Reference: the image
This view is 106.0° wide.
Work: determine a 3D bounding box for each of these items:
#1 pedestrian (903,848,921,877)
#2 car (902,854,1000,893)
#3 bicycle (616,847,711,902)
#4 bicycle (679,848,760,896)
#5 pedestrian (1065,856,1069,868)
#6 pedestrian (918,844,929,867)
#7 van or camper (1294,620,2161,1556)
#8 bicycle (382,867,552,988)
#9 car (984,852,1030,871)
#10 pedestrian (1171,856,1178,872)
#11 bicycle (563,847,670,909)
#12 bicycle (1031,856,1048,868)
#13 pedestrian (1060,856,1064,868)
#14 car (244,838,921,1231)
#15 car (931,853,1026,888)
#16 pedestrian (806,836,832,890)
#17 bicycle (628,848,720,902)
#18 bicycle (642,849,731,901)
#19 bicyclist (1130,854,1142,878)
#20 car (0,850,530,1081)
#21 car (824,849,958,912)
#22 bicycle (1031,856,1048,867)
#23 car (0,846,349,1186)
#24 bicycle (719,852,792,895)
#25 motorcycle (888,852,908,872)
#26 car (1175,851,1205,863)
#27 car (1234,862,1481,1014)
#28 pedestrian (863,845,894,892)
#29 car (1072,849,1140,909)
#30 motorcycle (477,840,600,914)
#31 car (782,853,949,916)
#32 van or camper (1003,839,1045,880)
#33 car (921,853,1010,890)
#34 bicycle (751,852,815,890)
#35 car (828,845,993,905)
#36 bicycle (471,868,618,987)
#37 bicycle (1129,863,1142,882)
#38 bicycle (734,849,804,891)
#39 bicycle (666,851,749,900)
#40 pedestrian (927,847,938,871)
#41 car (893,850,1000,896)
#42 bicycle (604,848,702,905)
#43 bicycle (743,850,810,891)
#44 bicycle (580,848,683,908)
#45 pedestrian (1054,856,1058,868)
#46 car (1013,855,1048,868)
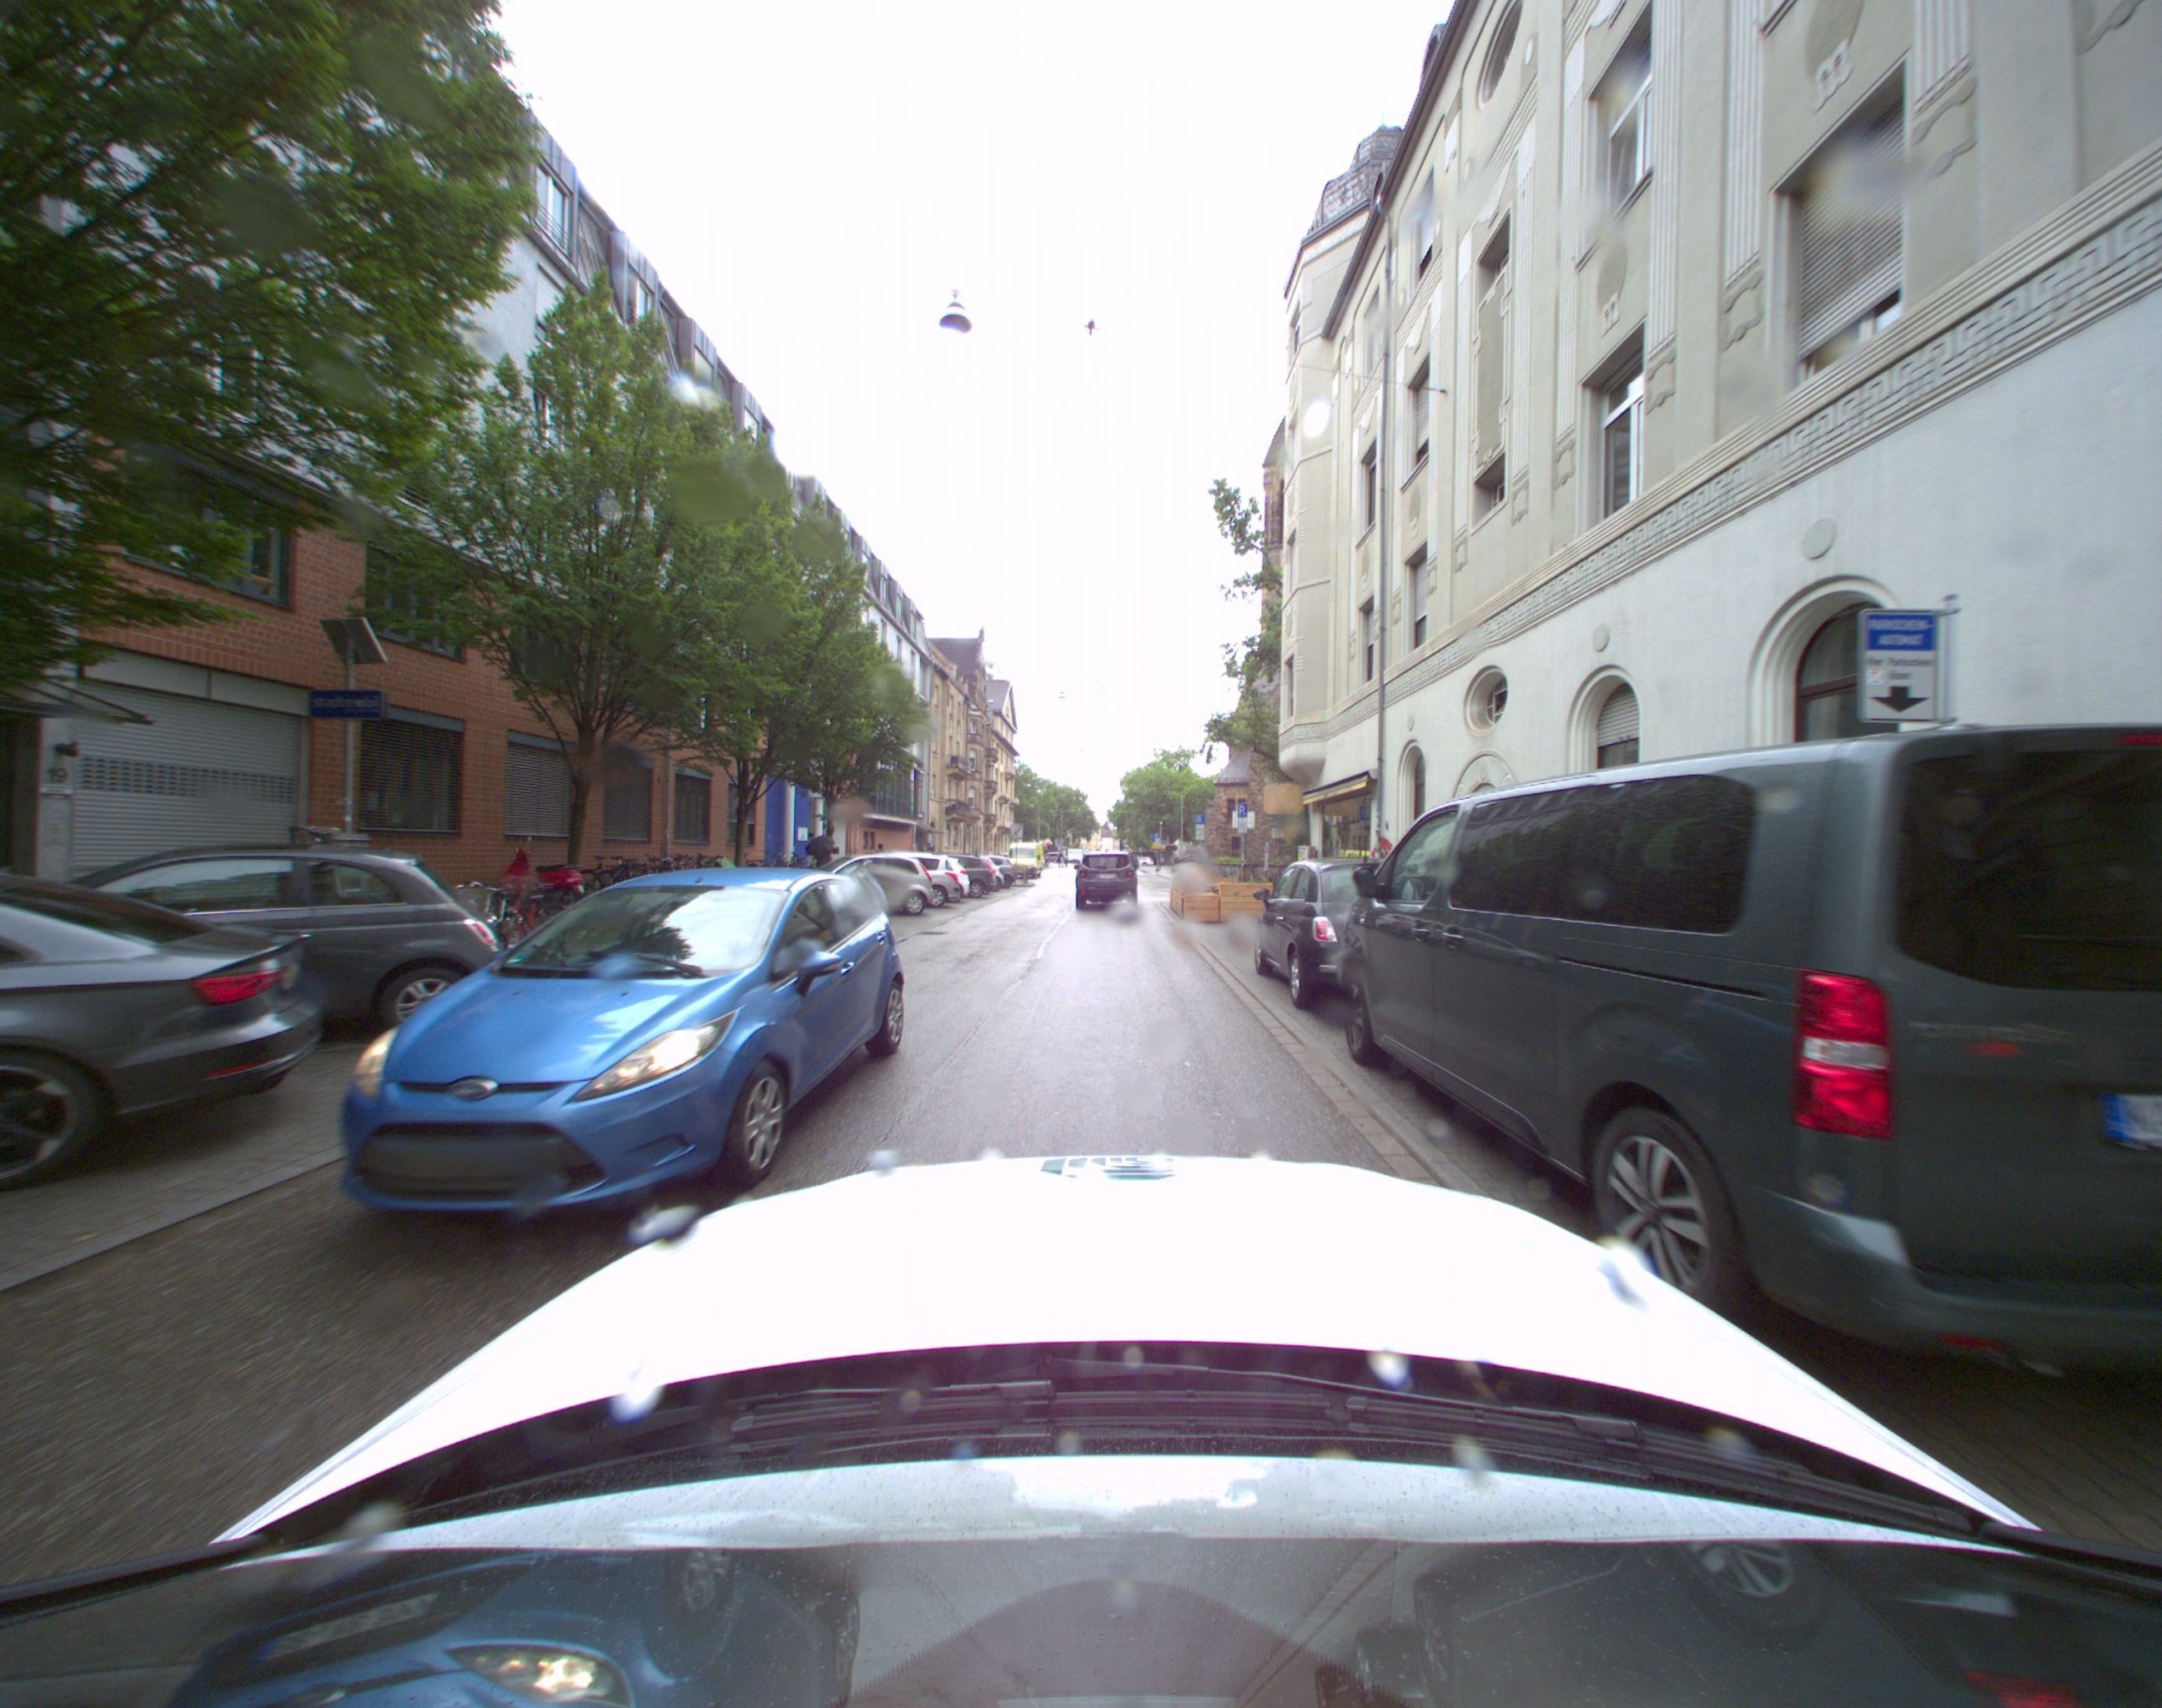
[{"bbox_3d":[-9.459,0.482,45.644,0.705,1.551,0.609,3,0,9],"label":"pedestrian"},{"bbox_3d":[-5.079,0.780,31.963,3.398,1.458,1.664,2,-1,-32],"label":"car"},{"bbox_3d":[-10.049,0.487,19.644,1.890,1.152,0.553,5,-1,-1],"label":"bicycle"},{"bbox_3d":[-10.037,0.502,22.666,1.890,1.152,0.553,5,-1,-1],"label":"bicycle"},{"bbox_3d":[-1.811,1.059,107.019,0.466,1.585,0.752,0,0,1],"label":"pedestrian"},{"bbox_3d":[-11.627,0.098,59.926,0.663,1.675,0.791,0,0,-22],"label":"pedestrian"},{"bbox_3d":[2.692,0.472,4.169,2.014,1.891,5.057,0,0,2],"label":"van or camper"},{"bbox_3d":[-7.056,0.779,9.510,0.783,1.158,2.136,1,1,-14],"label":"bicycle"},{"bbox_3d":[-6.646,0.680,72.924,3.679,1.559,1.780,3,-1,-34],"label":"car"},{"bbox_3d":[9.990,1.030,86.756,0.688,1.711,0.684,0,0,2],"label":"pedestrian"},{"bbox_3d":[-10.105,0.514,17.754,1.890,1.152,0.553,5,-1,-1],"label":"bicycle"},{"bbox_3d":[-5.217,0.966,101.782,2.098,1.444,0.487,0,0,-18],"label":"bicycle"},{"bbox_3d":[-2.428,1.010,106.525,0.466,1.585,0.752,0,0,1],"label":"pedestrian"},{"bbox_3d":[-2.268,0.691,5.066,1.664,1.465,4.004,0,0,1],"label":"car"},{"bbox_3d":[-4.702,0.746,37.431,3.840,1.507,1.971,2,-1,-29],"label":"car"},{"bbox_3d":[-8.273,0.287,25.743,0.609,1.707,0.433,1,-2,2],"label":"pedestrian"},{"bbox_3d":[-10.070,0.507,20.203,1.890,1.152,0.553,5,-1,-1],"label":"bicycle"},{"bbox_3d":[-9.997,0.525,20.674,1.890,1.152,0.553,5,-1,-1],"label":"bicycle"},{"bbox_3d":[3.213,0.699,47.801,0.702,1.403,1.172,0,0,2],"label":"bicyclist"},{"bbox_3d":[-6.492,0.693,6.337,3.498,1.435,1.632,0,0,-41],"label":"car"},{"bbox_3d":[-5.375,0.698,23.148,3.397,1.654,1.618,0,0,-31],"label":"car"},{"bbox_3d":[-5.114,0.931,100.787,2.115,1.444,0.536,0,0,-18],"label":"bicycle"},{"bbox_3d":[-6.071,0.678,3.632,3.997,1.447,1.748,3,0,-38],"label":"car"},{"bbox_3d":[-9.935,0.585,24.914,1.890,1.152,0.553,5,-1,-1],"label":"bicycle"},{"bbox_3d":[-11.472,0.500,51.082,0.751,1.174,2.114,3,0,-1],"label":"motorcycle"},{"bbox_3d":[21.621,0.525,162.338,5.875,2.334,2.063,0,0,5],"label":"car"},{"bbox_3d":[2.944,0.806,9.502,1.704,1.400,3.706,0,0,1],"label":"car"},{"bbox_3d":[-7.889,0.551,31.733,0.820,1.752,0.759,3,0,9],"label":"pedestrian"},{"bbox_3d":[0.731,0.708,24.952,1.892,1.671,4.506,0,0,1],"label":"car"},{"bbox_3d":[-10.383,0.437,15.624,1.873,1.225,0.657,5,0,5],"label":"motorcycle"},{"bbox_3d":[-5.365,0.698,20.430,3.728,1.452,1.668,0,0,-33],"label":"car"},{"bbox_3d":[-3.903,0.467,57.089,2.113,2.531,6.876,-3,-2,2],"label":"van or camper"},{"bbox_3d":[-4.913,0.737,34.650,3.395,1.507,1.665,2,-1,-29],"label":"car"},{"bbox_3d":[-10.325,0.593,28.229,1.890,1.152,0.553,5,-1,-1],"label":"bicycle"},{"bbox_3d":[-5.393,0.683,25.864,4.539,1.539,2.315,5,-3,-31],"label":"car"},{"bbox_3d":[-6.293,0.801,9.714,0.749,1.158,2.210,1,1,-14],"label":"bicycle"},{"bbox_3d":[3.209,1.093,47.797,0.702,1.054,1.814,0,0,2],"label":"bicycle"},{"bbox_3d":[-9.914,0.515,25.905,1.890,1.152,0.553,5,-1,-1],"label":"bicycle"},{"bbox_3d":[-10.090,0.573,22.041,1.890,1.152,0.553,5,-1,-1],"label":"bicycle"},{"bbox_3d":[-10.987,0.357,60.189,0.663,1.757,0.791,0,0,-22],"label":"pedestrian"},{"bbox_3d":[-4.785,0.687,29.094,3.395,1.542,1.665,2,-1,-29],"label":"car"},{"bbox_3d":[-10.014,0.515,19.108,1.890,1.152,0.553,5,-1,-1],"label":"bicycle"},{"bbox_3d":[-9.936,0.541,26.618,1.890,1.152,0.553,5,-1,-1],"label":"bicycle"},{"bbox_3d":[-10.069,0.534,18.284,1.890,1.152,0.553,5,-1,-1],"label":"bicycle"},{"bbox_3d":[-3.191,1.001,105.956,0.466,1.585,0.659,0,0,1],"label":"pedestrian"},{"bbox_3d":[-5.682,0.879,91.375,3.435,1.316,1.762,3,-1,-32],"label":"car"}]
